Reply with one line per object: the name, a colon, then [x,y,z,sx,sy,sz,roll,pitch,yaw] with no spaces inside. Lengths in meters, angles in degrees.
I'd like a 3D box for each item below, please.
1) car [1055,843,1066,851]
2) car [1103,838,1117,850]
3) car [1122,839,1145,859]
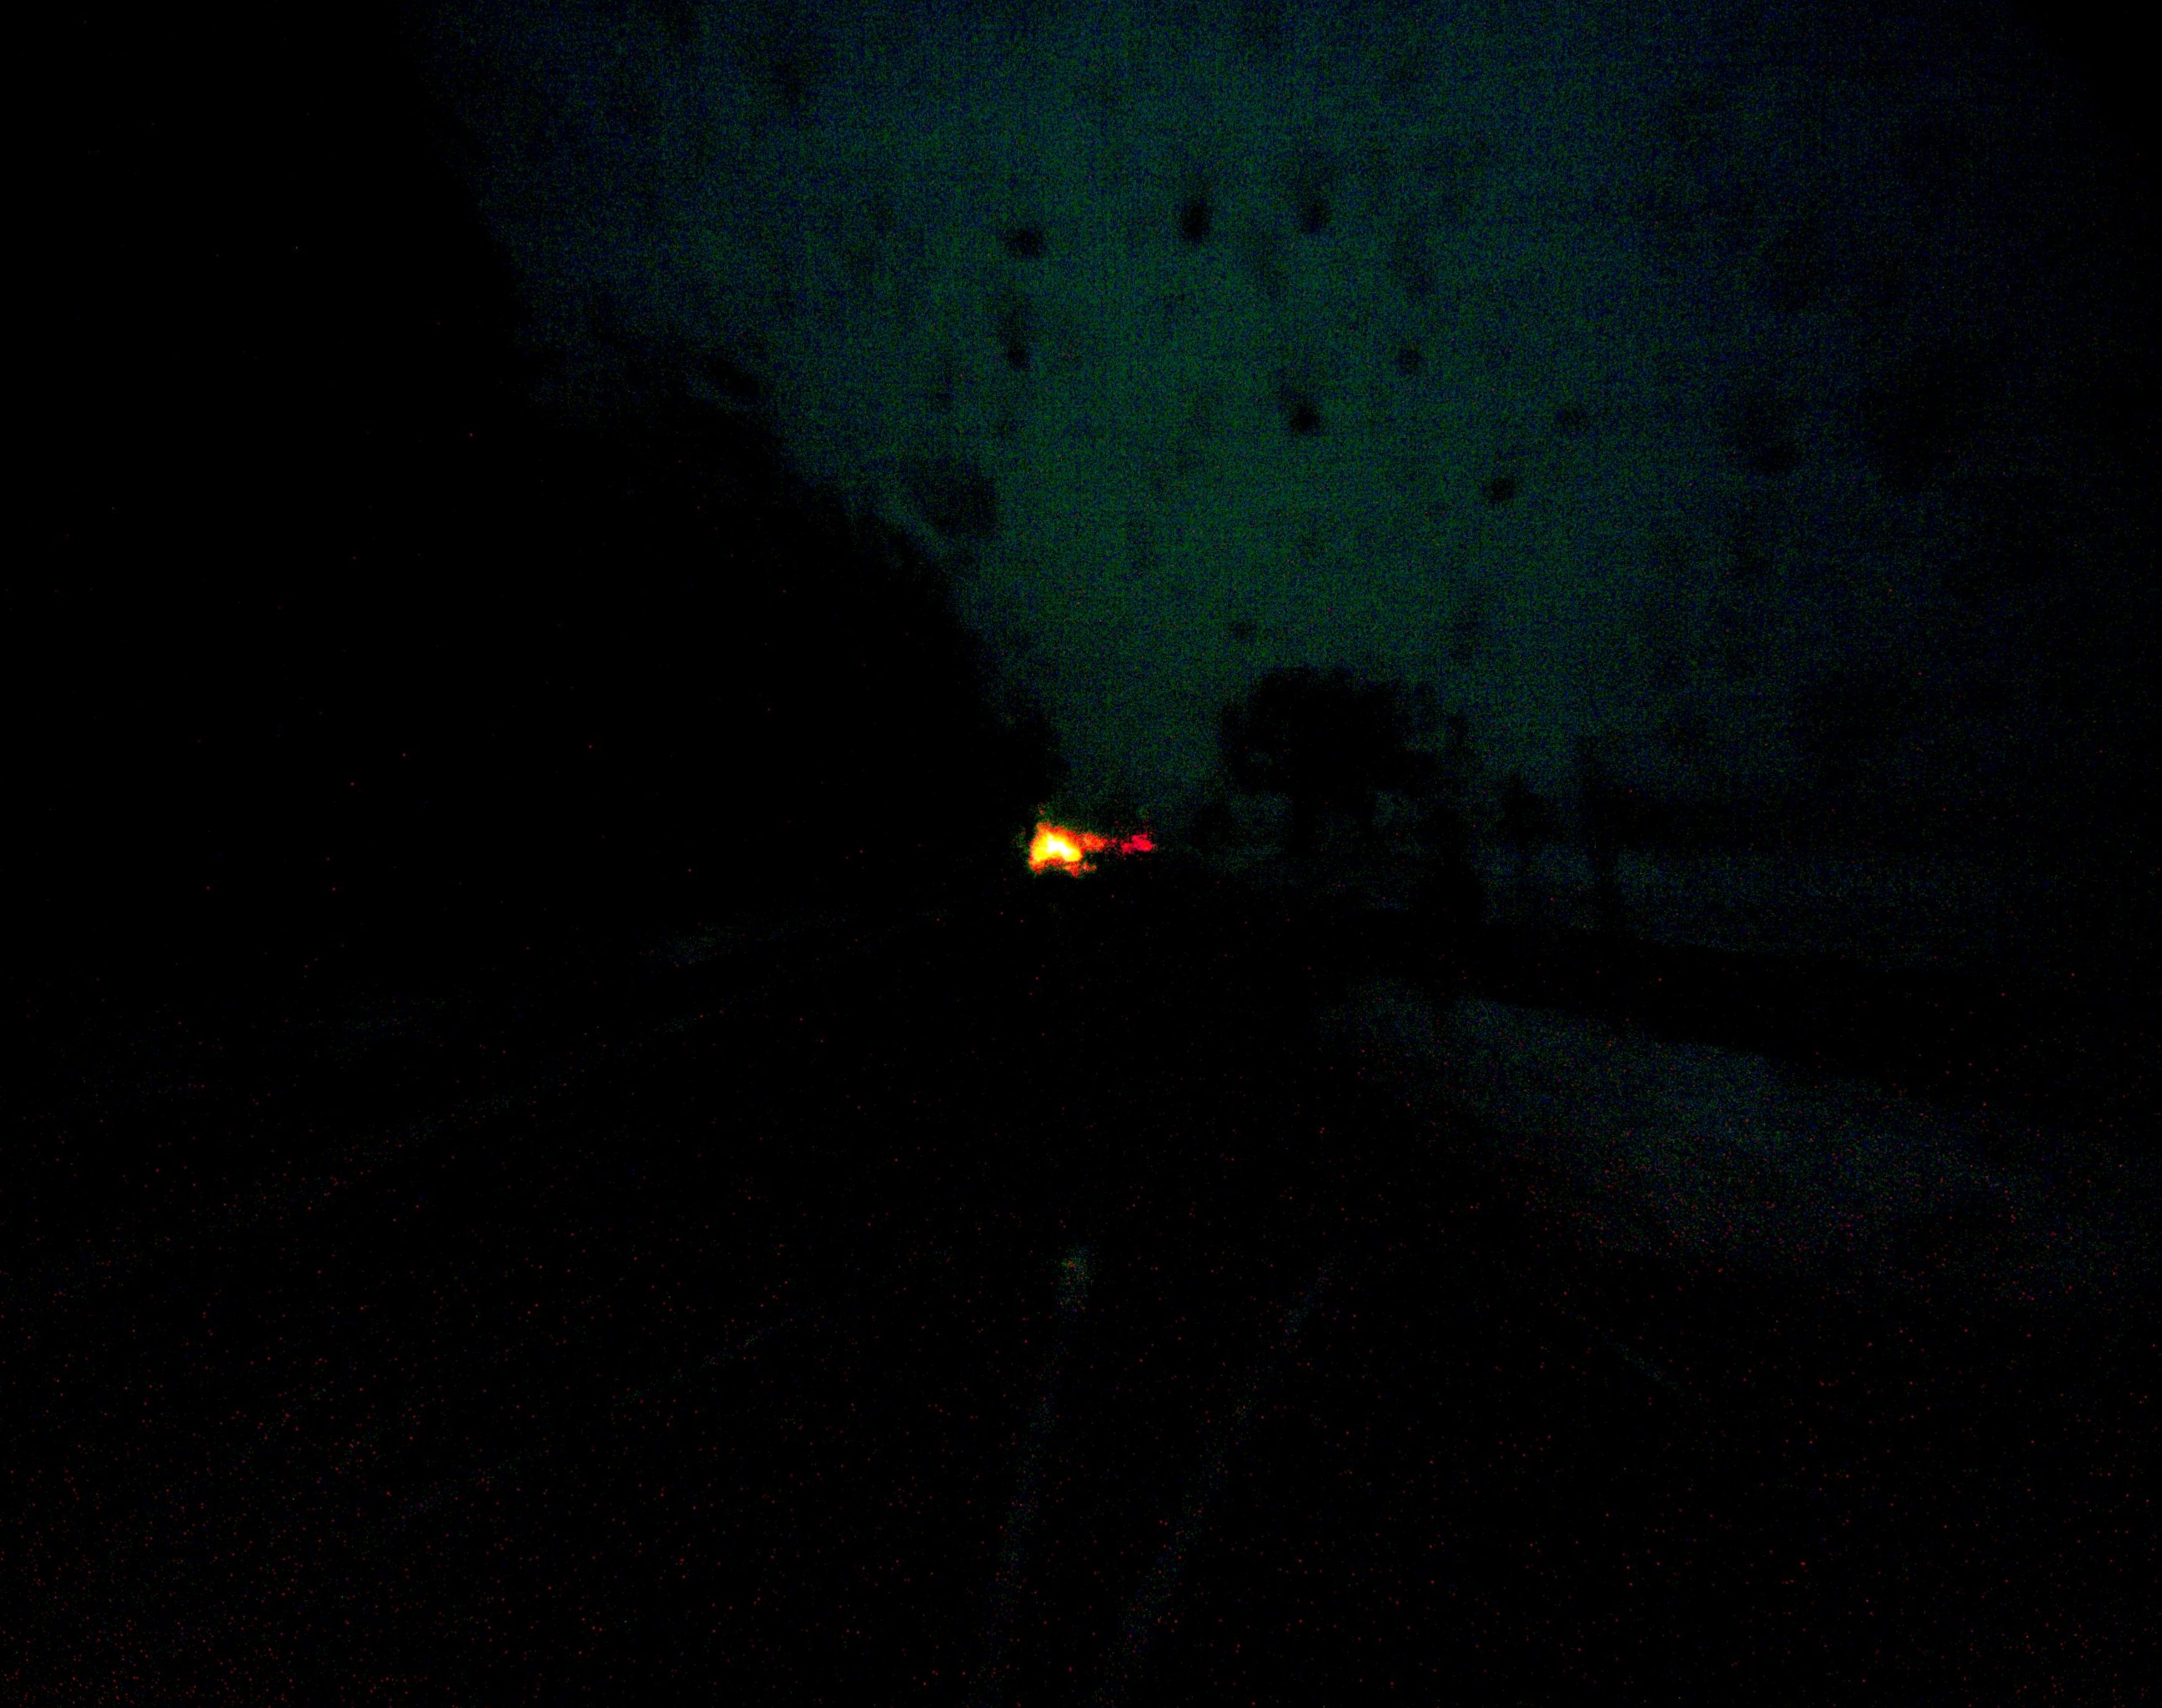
car: [-3.583,-1.205,130.371,1.725,1.426,3.675,-2,0,-3]
car: [4.351,-1.526,113.764,1.998,1.796,3.999,-2,1,1]
car: [5.114,-0.486,74.216,1.998,1.796,3.999,-2,1,1]
